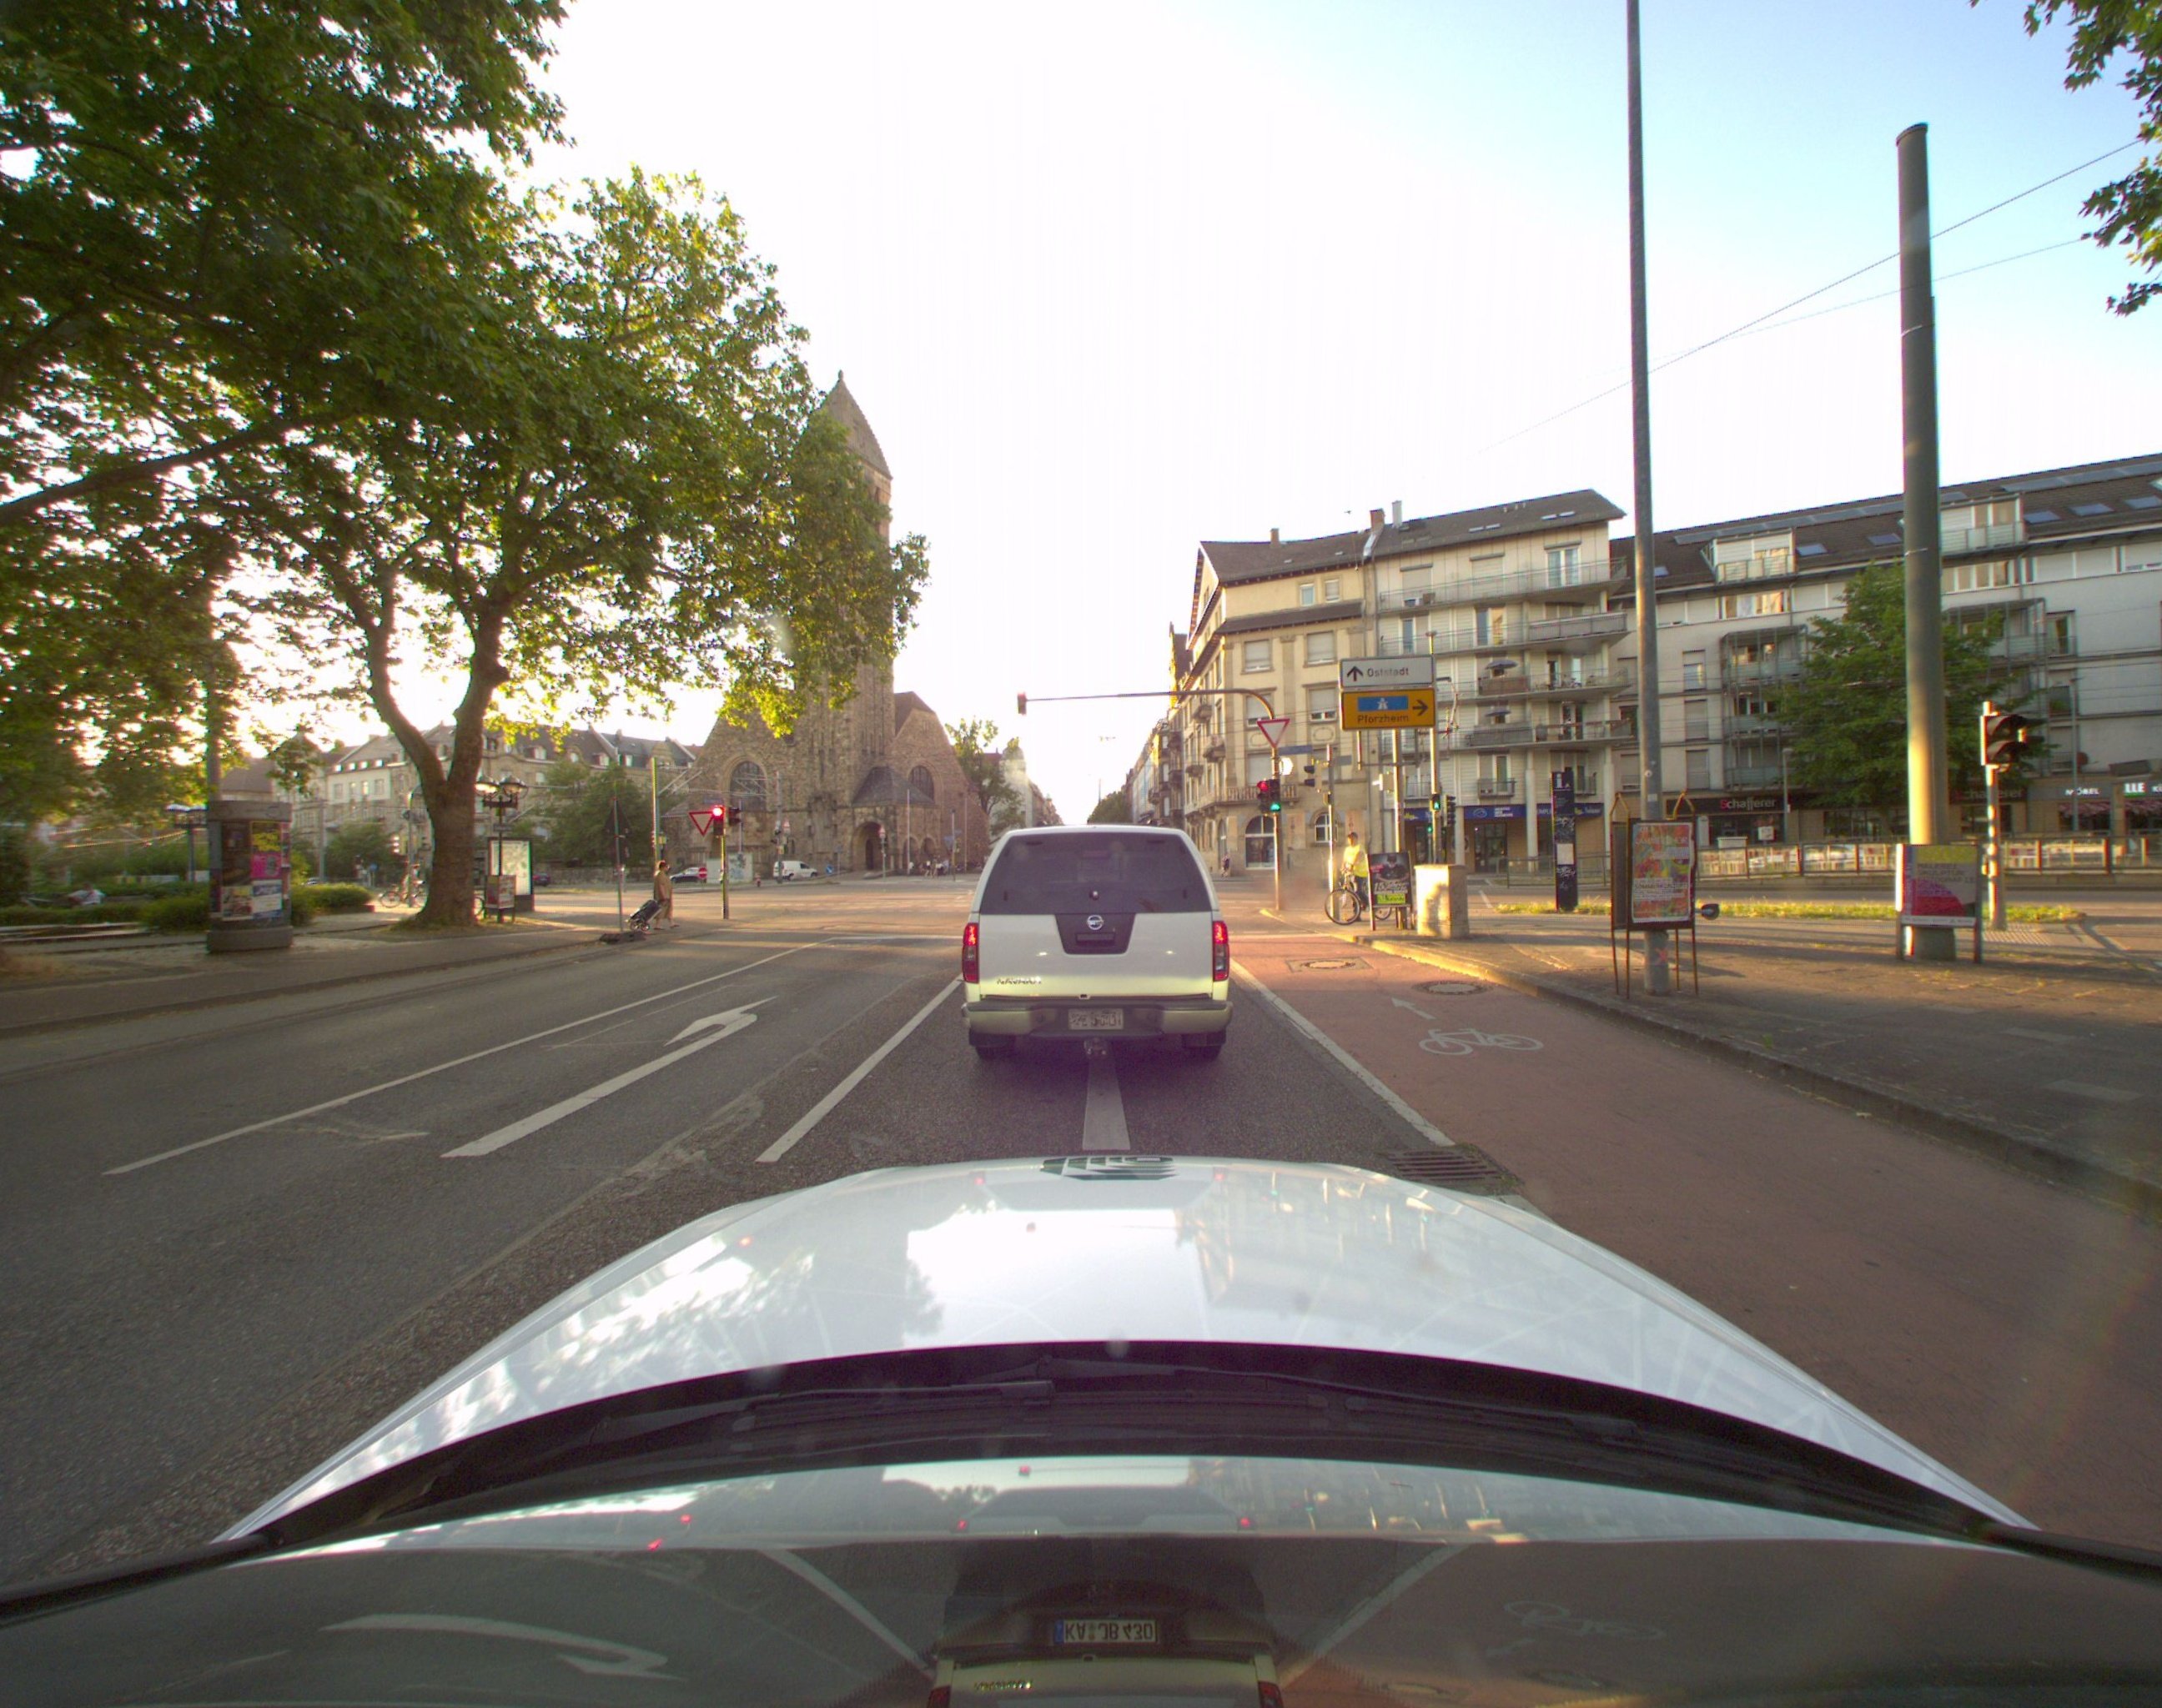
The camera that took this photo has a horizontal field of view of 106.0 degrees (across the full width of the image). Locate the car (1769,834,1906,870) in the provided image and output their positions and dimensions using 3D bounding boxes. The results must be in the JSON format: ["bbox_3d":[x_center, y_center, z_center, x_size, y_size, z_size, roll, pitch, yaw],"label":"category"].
[{"bbox_3d":[32.675,-0.056,35.320,3.952,1.486,1.859,-1,-1,21],"label":"car"}]

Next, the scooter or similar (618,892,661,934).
[{"bbox_3d":[-10.126,1.343,18.701,0.591,0.898,0.849,0,-1,-9],"label":"scooter or similar"}]

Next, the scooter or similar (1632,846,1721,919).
[{"bbox_3d":[10.621,0.501,14.545,1.219,1.249,0.518,-1,-1,41],"label":"scooter or similar"}]

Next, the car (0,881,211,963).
[{"bbox_3d":[-26.744,1.778,21.521,1.975,1.781,4.669,-3,1,27],"label":"car"}]

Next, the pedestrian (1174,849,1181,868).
[{"bbox_3d":[8.562,0.389,72.321,0.525,1.654,0.547,0,-1,1],"label":"pedestrian"}]

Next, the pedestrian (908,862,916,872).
[{"bbox_3d":[-15.675,1.208,75.518,0.517,0.960,0.482,-1,-1,21],"label":"pedestrian"}]

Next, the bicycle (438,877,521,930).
[{"bbox_3d":[-15.829,1.275,21.505,0.522,1.326,1.998,-1,-1,7],"label":"bicycle"}]

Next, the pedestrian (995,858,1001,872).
[{"bbox_3d":[-10.834,1.471,106.281,0.643,1.855,0.559,0,-1,-13],"label":"pedestrian"}]

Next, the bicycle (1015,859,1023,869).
[{"bbox_3d":[-6.854,1.140,90.622,0.599,1.043,1.937,0,-1,-13],"label":"bicycle"}]

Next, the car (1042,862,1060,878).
[{"bbox_3d":[-3.854,2.046,105.469,1.987,2.014,4.950,-2,-1,0],"label":"car"}]

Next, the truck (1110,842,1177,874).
[{"bbox_3d":[5.315,0.324,68.845,5.704,2.565,2.260,0,-1,-42],"label":"truck"}]

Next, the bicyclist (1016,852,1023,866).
[{"bbox_3d":[-6.836,0.564,90.602,0.600,1.645,0.959,0,-1,-13],"label":"bicyclist"}]

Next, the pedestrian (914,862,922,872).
[{"bbox_3d":[-15.064,1.199,75.228,0.517,0.960,0.482,-1,-1,21],"label":"pedestrian"}]

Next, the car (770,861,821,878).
[{"bbox_3d":[-26.359,1.428,75.357,1.698,1.517,4.481,-1,-1,26],"label":"car"}]

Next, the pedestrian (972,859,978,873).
[{"bbox_3d":[-12.784,1.486,98.234,0.642,1.695,0.560,0,-1,-7],"label":"pedestrian"}]

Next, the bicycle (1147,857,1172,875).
[{"bbox_3d":[6.101,0.933,63.195,1.812,1.238,0.488,-4,-1,-1],"label":"bicycle"}]

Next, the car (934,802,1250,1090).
[{"bbox_3d":[0.126,0.610,7.136,1.986,1.809,4.001,0,-1,2],"label":"car"}]

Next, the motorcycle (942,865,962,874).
[{"bbox_3d":[-14.612,1.755,92.222,2.239,0.988,0.707,0,-1,-4],"label":"motorcycle"}]

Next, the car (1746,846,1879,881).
[{"bbox_3d":[31.780,0.431,35.543,3.950,1.486,1.860,-1,-1,26],"label":"car"}]

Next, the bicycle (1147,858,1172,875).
[{"bbox_3d":[6.214,1.009,64.629,1.812,1.238,0.412,-4,-1,-1],"label":"bicycle"}]

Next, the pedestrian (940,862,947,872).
[{"bbox_3d":[-13.618,1.274,80.907,0.517,0.960,0.481,-1,-1,19],"label":"pedestrian"}]

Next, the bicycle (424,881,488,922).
[{"bbox_3d":[-18.057,1.357,23.584,0.456,1.093,1.798,0,-1,0],"label":"bicycle"}]

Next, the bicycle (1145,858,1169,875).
[{"bbox_3d":[6.135,1.029,65.767,1.849,1.238,0.530,-4,-1,-1],"label":"bicycle"}]

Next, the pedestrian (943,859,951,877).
[{"bbox_3d":[-12.510,1.317,76.024,0.629,1.698,0.605,-1,-1,12],"label":"pedestrian"}]

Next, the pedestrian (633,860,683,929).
[{"bbox_3d":[-10.139,0.955,19.551,0.800,1.628,0.773,0,-1,-3],"label":"pedestrian"}]

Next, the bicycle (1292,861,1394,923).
[{"bbox_3d":[4.994,0.691,15.462,2.079,1.109,0.622,0,-1,-31],"label":"bicycle"}]

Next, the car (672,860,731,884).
[{"bbox_3d":[-30.383,1.419,65.269,3.951,1.619,2.010,0,-9,25],"label":"car"}]

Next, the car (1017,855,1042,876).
[{"bbox_3d":[-4.619,1.000,73.718,1.987,1.784,4.797,-1,1,0],"label":"car"}]

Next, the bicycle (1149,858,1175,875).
[{"bbox_3d":[6.193,0.931,62.252,1.812,1.150,0.636,-4,-1,-1],"label":"bicycle"}]

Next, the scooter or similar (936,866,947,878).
[{"bbox_3d":[-12.845,1.673,75.091,0.629,1.103,1.083,-1,-1,16],"label":"scooter or similar"}]

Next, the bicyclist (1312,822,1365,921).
[{"bbox_3d":[4.868,0.324,15.395,0.701,1.824,0.622,0,-1,-31],"label":"bicyclist"}]

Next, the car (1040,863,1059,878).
[{"bbox_3d":[-3.571,1.932,94.403,1.987,1.558,4.766,-2,-3,0],"label":"car"}]

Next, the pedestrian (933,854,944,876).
[{"bbox_3d":[-12.548,0.947,71.568,0.809,1.901,0.666,0,-1,-1],"label":"pedestrian"}]

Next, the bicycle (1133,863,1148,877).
[{"bbox_3d":[4.637,1.251,63.631,1.073,1.024,0.317,-4,-1,-1],"label":"bicycle"}]

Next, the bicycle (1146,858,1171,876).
[{"bbox_3d":[6.091,1.033,63.905,1.812,1.238,0.477,-4,-1,-1],"label":"bicycle"}]

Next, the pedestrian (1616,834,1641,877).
[{"bbox_3d":[28.506,0.096,42.399,0.860,2.209,0.825,-1,-1,21],"label":"pedestrian"}]

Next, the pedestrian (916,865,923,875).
[{"bbox_3d":[-15.149,1.493,76.397,0.473,0.960,0.526,-1,-1,31],"label":"pedestrian"}]

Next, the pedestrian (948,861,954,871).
[{"bbox_3d":[-12.897,1.220,80.805,0.522,0.960,0.477,0,-1,-14],"label":"pedestrian"}]

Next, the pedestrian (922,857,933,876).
[{"bbox_3d":[-13.460,1.079,71.537,0.809,1.669,0.859,0,-1,-1],"label":"pedestrian"}]

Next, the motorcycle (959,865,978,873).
[{"bbox_3d":[-13.359,1.809,96.511,2.146,0.988,0.597,-1,-1,21],"label":"motorcycle"}]

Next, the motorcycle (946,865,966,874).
[{"bbox_3d":[-14.452,1.784,94.246,2.239,0.988,0.707,0,-1,-4],"label":"motorcycle"}]

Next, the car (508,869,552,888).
[{"bbox_3d":[-49.788,2.206,73.557,3.948,1.684,2.013,-1,-1,35],"label":"car"}]

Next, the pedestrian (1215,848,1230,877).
[{"bbox_3d":[8.883,0.517,50.967,0.779,1.779,0.546,-1,-1,27],"label":"pedestrian"}]

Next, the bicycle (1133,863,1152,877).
[{"bbox_3d":[4.851,1.245,64.339,1.367,1.024,0.317,-4,-1,-1],"label":"bicycle"}]

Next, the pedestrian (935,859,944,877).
[{"bbox_3d":[-13.262,1.303,76.154,0.629,1.698,0.605,-1,-1,11],"label":"pedestrian"}]

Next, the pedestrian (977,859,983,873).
[{"bbox_3d":[-12.469,1.474,100.311,0.640,1.695,0.562,0,-1,1],"label":"pedestrian"}]
